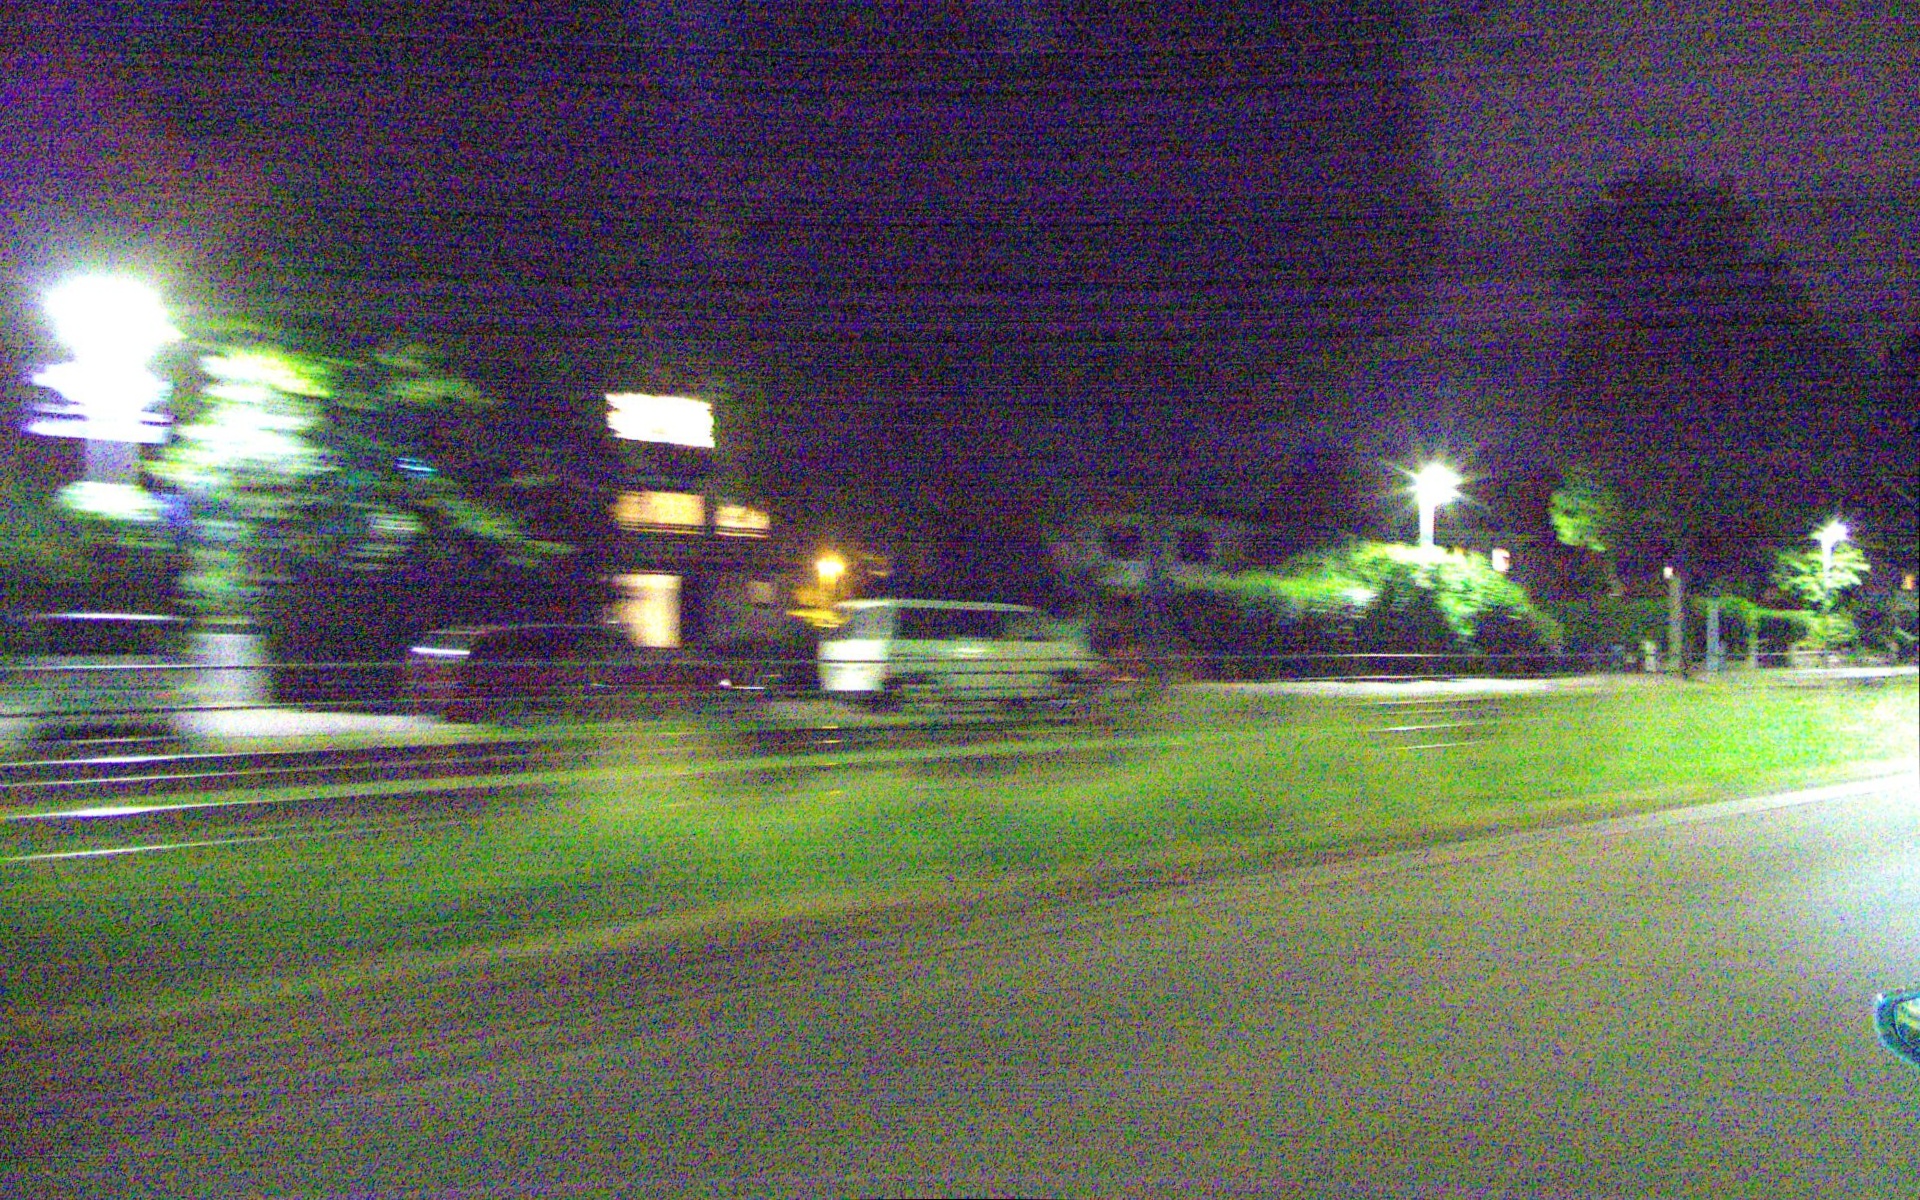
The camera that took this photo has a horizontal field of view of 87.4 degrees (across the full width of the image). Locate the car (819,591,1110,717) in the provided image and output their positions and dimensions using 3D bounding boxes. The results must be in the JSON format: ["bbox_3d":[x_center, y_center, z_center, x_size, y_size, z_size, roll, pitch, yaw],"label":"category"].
[{"bbox_3d":[0.161,0.907,17.442,4.827,1.929,1.847,2,-2,-33],"label":"car"}]

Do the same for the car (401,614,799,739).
[{"bbox_3d":[-5.063,1.033,14.466,5.106,1.542,1.895,2,-2,-28],"label":"car"}]

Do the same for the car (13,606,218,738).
[{"bbox_3d":[-9.902,0.778,11.980,1.518,1.343,3.009,2,-2,-34],"label":"car"}]

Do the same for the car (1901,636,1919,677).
[{"bbox_3d":[40.967,2.351,41.409,4.623,1.649,1.984,2,-2,-31],"label":"car"}]
